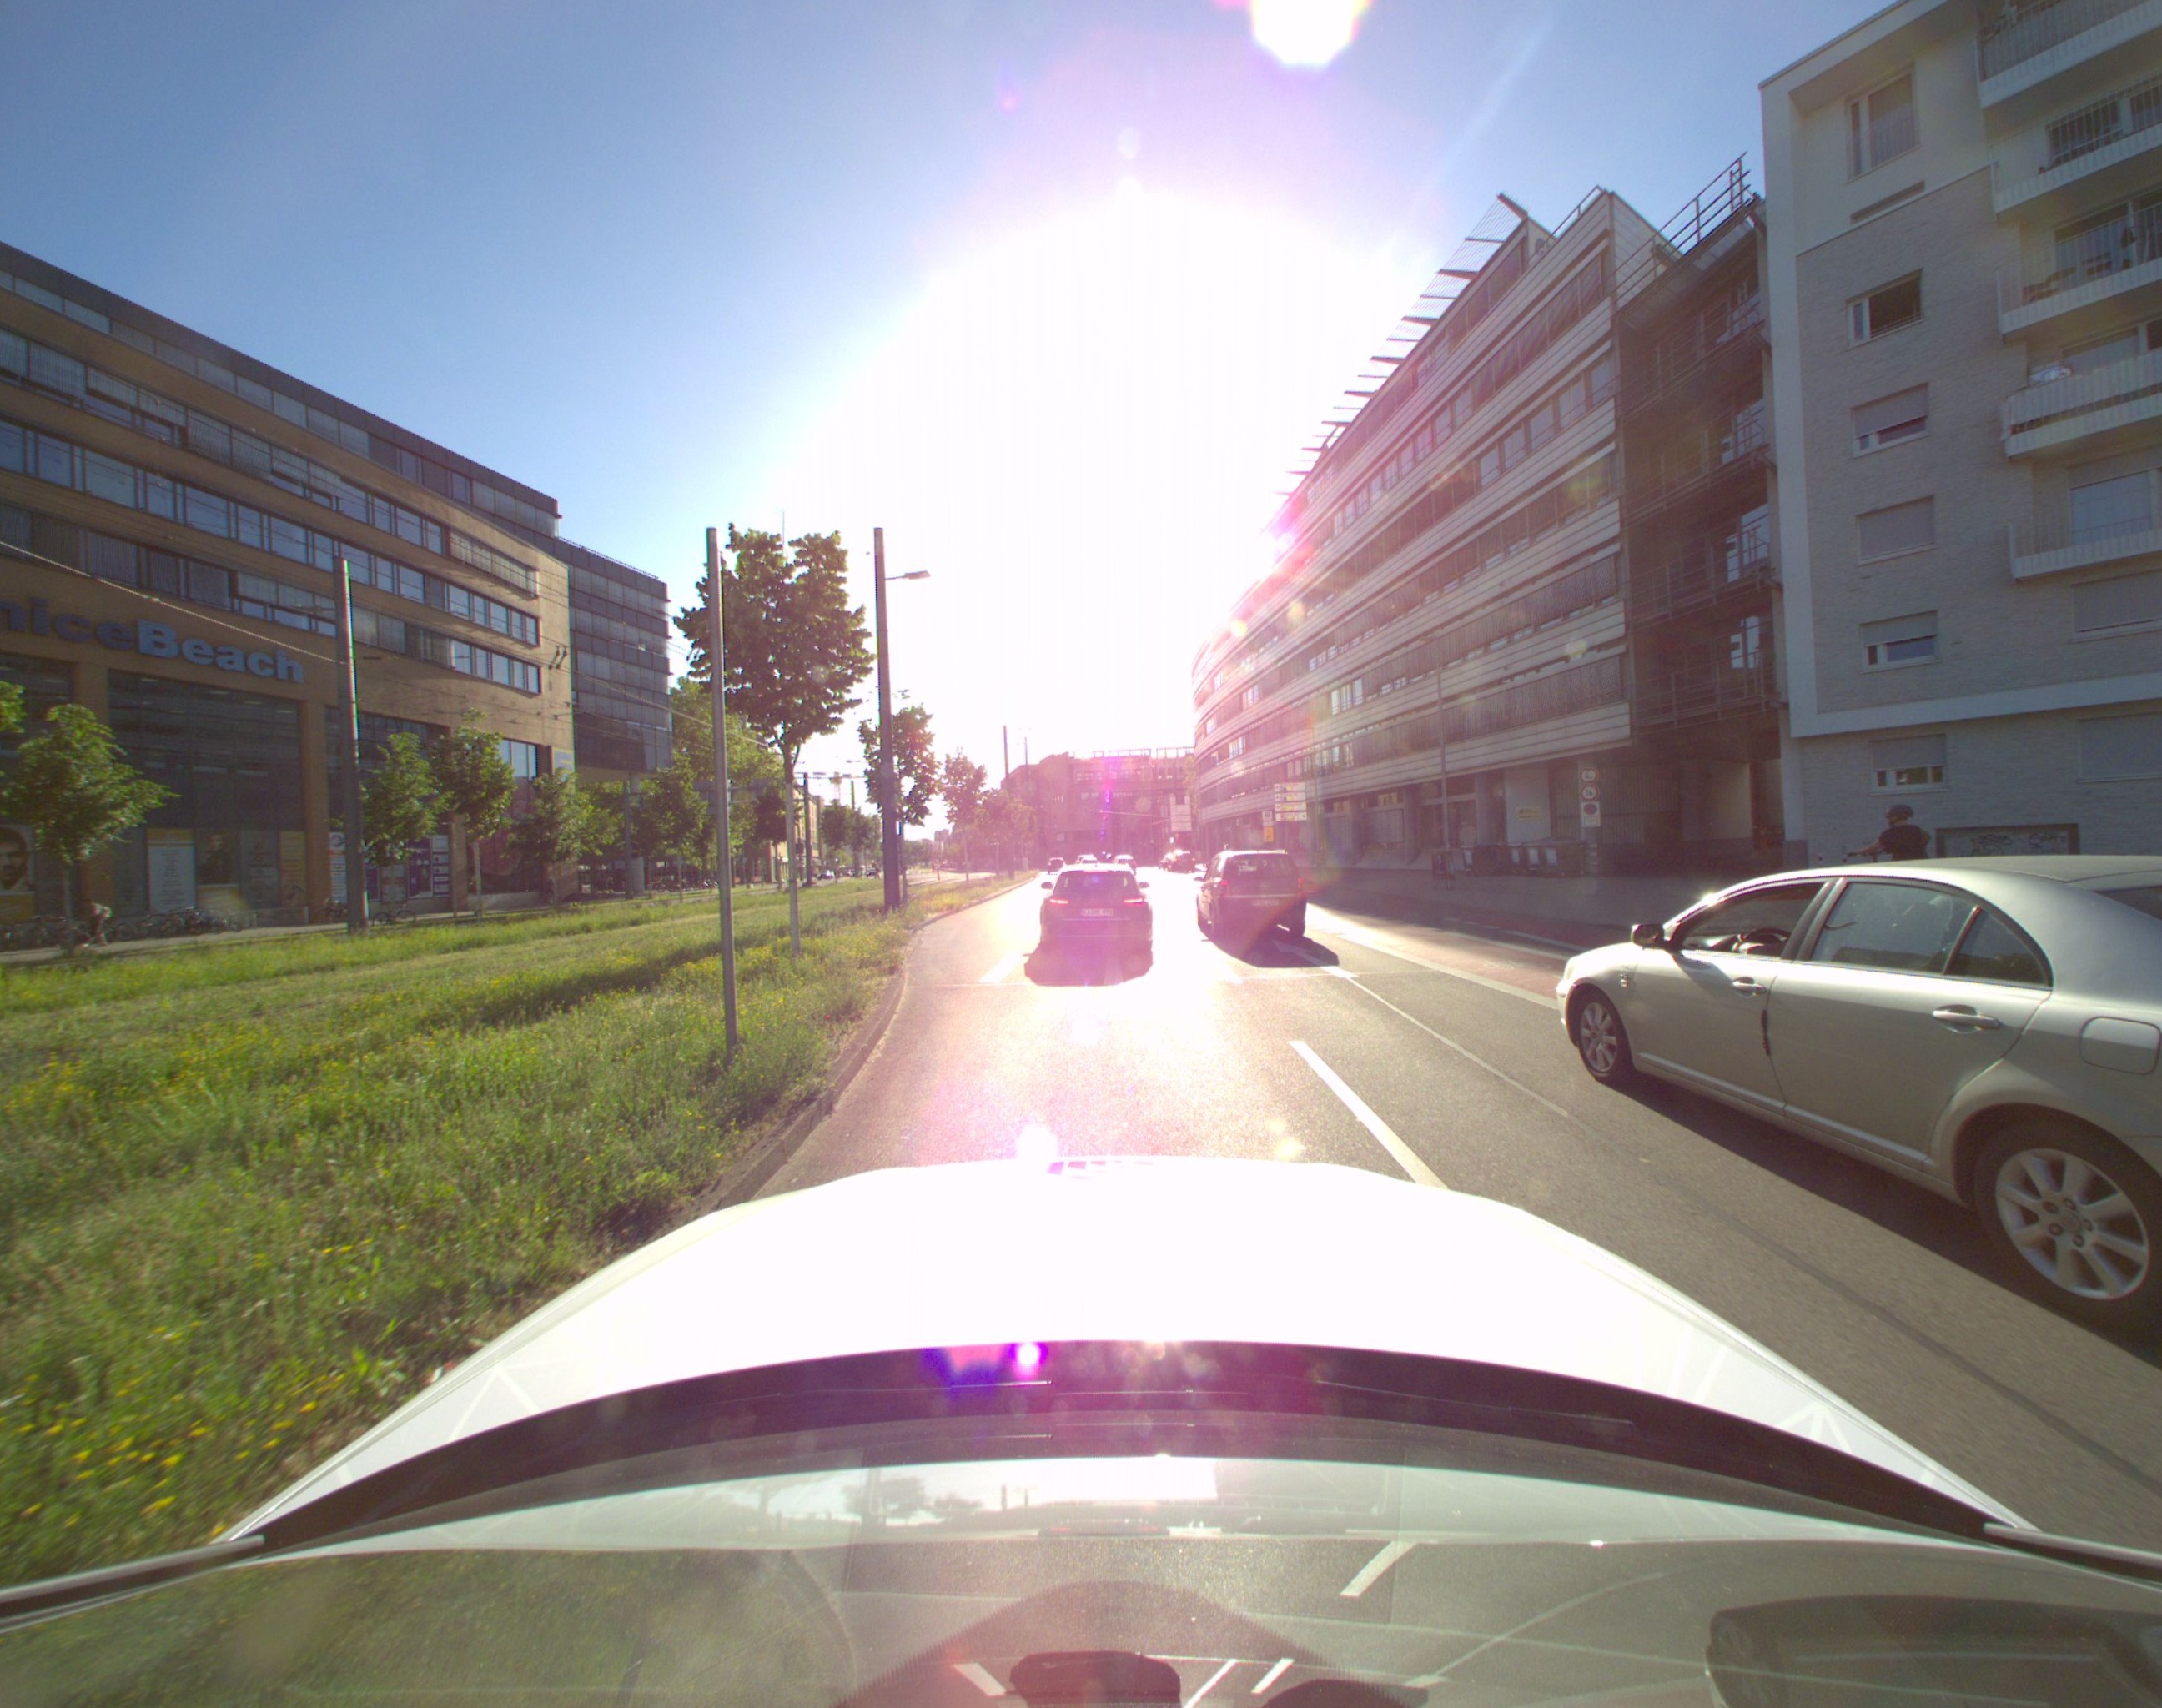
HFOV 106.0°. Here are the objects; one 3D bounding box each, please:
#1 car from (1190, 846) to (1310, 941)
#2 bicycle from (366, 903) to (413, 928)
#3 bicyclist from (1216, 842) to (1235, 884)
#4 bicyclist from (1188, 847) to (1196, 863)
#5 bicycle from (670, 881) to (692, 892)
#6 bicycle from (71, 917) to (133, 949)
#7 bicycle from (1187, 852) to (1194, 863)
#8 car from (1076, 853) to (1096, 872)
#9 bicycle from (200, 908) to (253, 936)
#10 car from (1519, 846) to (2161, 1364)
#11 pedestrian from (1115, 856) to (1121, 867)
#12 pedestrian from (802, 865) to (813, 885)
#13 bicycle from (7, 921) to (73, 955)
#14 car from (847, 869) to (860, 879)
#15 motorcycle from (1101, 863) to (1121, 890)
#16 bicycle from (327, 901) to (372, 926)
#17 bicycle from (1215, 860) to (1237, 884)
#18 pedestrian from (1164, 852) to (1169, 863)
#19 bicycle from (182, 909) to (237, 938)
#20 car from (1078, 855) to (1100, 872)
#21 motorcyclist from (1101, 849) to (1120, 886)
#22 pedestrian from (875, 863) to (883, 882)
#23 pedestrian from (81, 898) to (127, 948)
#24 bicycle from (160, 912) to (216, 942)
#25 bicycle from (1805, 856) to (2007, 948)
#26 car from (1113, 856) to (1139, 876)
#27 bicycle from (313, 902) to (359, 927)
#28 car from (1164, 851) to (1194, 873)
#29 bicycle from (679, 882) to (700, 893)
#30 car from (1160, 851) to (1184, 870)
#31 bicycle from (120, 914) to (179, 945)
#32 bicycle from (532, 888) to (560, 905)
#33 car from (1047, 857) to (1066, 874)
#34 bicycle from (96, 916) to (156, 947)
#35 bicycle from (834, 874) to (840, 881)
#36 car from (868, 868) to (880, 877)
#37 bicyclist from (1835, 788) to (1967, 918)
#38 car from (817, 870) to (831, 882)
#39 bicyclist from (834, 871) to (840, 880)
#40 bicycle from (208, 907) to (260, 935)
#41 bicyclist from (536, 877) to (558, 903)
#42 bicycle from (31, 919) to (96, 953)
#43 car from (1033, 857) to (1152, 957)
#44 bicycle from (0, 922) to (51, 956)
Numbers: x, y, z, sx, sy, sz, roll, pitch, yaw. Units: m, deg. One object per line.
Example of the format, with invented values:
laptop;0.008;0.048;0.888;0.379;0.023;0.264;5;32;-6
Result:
car;3.317;0.708;16.778;1.681;1.629;4.466;-3;0;3
bicycle;-28.491;2.534;33.583;0.461;0.868;1.770;-3;0;-1
bicyclist;6.314;0.382;35.646;0.575;1.791;0.863;-3;0;-1
bicyclist;11.935;0.109;87.572;0.679;1.618;0.995;-3;0;14
bicycle;-37.883;3.114;77.206;1.770;0.951;0.538;-3;0;-17
bicycle;-35.358;2.858;29.417;1.757;1.049;0.491;-3;0;5
bicycle;11.742;0.382;87.294;0.500;1.058;1.709;-5;-1;16
car;0.443;0.753;75.969;1.732;1.651;3.999;-3;0;0
bicycle;-35.064;2.798;33.430;1.757;1.049;0.491;-3;0;5
car;4.074;0.720;3.889;1.743;1.431;4.493;-3;0;4
pedestrian;5.860;1.166;130.502;0.700;1.759;0.564;-3;0;24
pedestrian;-27.973;2.144;83.359;0.729;2.014;0.838;-1;-1;3
bicycle;-35.498;2.852;27.783;1.757;1.049;0.491;-3;0;5
car;-40.840;3.657;146.157;1.997;1.596;4.714;-4;0;-15
motorcycle;1.298;0.954;35.176;0.772;1.115;1.970;-3;0;2
bicycle;-34.778;2.822;38.724;1.757;1.049;0.491;-3;0;5
bicycle;6.335;0.763;35.661;0.490;0.997;2.327;-3;0;0
pedestrian;12.105;0.490;115.560;0.528;1.430;0.598;-3;0;-2
bicycle;-35.041;2.793;32.746;1.757;1.049;0.491;-3;0;5
car;0.638;0.813;68.858;1.732;1.349;3.999;-3;0;0
motorcyclist;1.281;0.573;35.108;0.742;1.530;1.021;-3;0;2
pedestrian;-20.323;1.877;81.860;0.631;1.830;0.661;-3;0;-8
pedestrian;-34.188;2.419;28.515;0.741;1.668;0.676;-3;0;4
bicycle;-35.133;2.868;32.045;1.757;1.049;0.491;-3;0;5
bicycle;10.489;0.560;10.485;0.496;1.032;2.209;-3;0;6
car;3.573;0.929;65.496;1.802;1.457;3.999;-2;0;-1
bicycle;-34.828;2.819;38.078;1.757;1.049;0.491;-3;0;5
car;8.313;0.679;69.268;1.987;1.750;4.328;-3;0;0
bicycle;-37.759;3.262;78.474;1.776;0.951;0.536;-3;0;-28
car;8.529;0.577;76.607;1.985;1.651;4.003;-3;0;3
bicycle;-35.252;2.863;30.832;1.757;1.049;0.491;-3;0;5
bicycle;-32.314;2.583;49.200;0.497;0.910;1.885;-3;0;-4
car;-2.242;1.034;75.256;1.644;1.433;3.999;-3;0;0
bicycle;-35.317;2.861;30.121;1.757;1.049;0.491;-3;0;5
bicycle;-41.786;4.020;139.380;0.650;1.085;2.915;-3;0;-11
car;-37.284;3.363;146.371;1.750;1.505;3.856;-3;0;-19
bicyclist;10.506;-0.009;10.480;0.621;1.566;1.045;-3;0;4
car;-45.172;3.817;143.365;1.997;2.013;3.980;-3;0;-15
bicyclist;-41.800;3.686;139.455;0.758;1.375;0.946;-3;0;-13
bicycle;-35.432;2.811;34.076;1.757;1.049;0.491;-3;0;5
bicyclist;-32.318;2.161;49.288;0.676;1.465;1.015;-2;0;-4
bicycle;-35.436;2.854;28.360;1.757;1.049;0.491;-3;0;5
car;0.219;0.812;14.680;1.805;1.492;4.496;-1;0;1
bicycle;-35.539;2.849;27.192;1.757;1.049;0.491;-3;0;5
